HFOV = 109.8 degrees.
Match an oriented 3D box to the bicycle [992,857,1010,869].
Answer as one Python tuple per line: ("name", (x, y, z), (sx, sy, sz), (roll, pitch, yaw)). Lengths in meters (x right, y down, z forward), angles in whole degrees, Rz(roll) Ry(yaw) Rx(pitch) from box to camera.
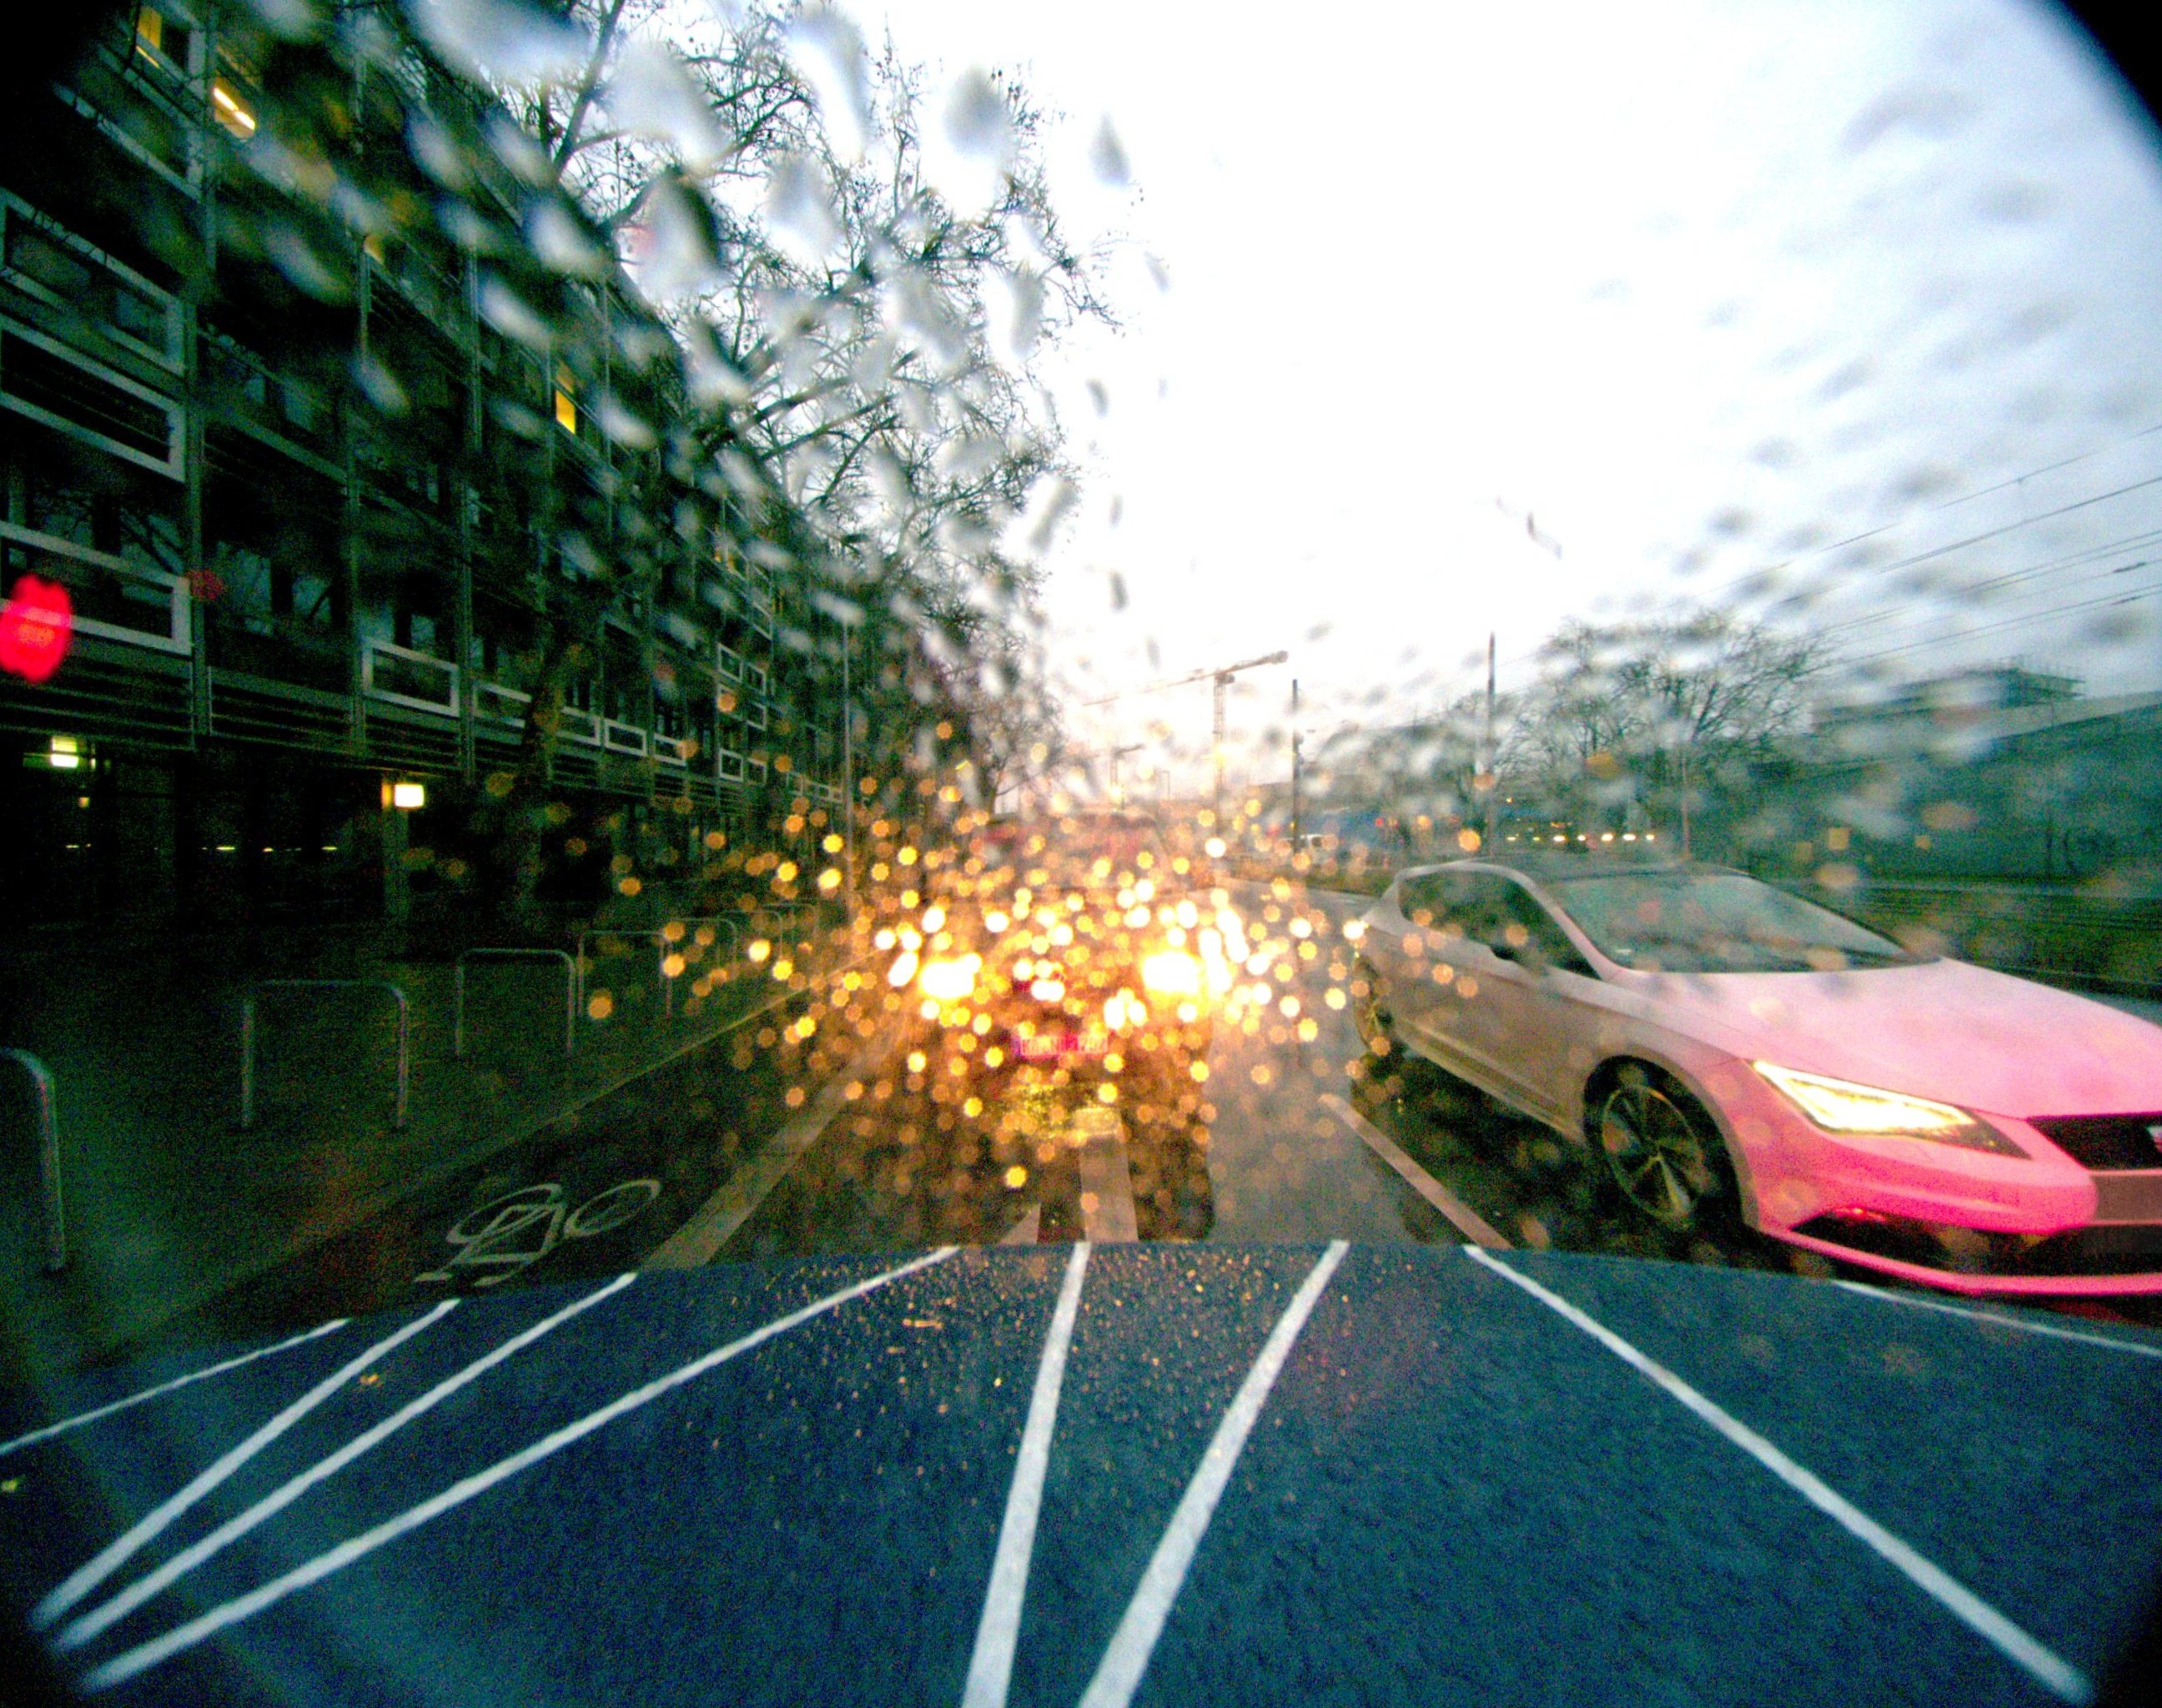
("bicycle", (-7.215, 0.796, 68.294), (1.523, 1.030, 0.469), (-2, 1, -7))

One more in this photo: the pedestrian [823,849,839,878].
("pedestrian", (-14.383, 0.550, 43.702), (0.641, 1.645, 0.843), (0, 1, 1))

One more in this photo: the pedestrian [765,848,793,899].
("pedestrian", (-12.070, 0.760, 30.403), (0.822, 2.002, 0.735), (-1, 1, -2))

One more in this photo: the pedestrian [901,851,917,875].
("pedestrian", (-11.070, 0.560, 48.870), (0.866, 1.515, 0.837), (-1, 1, -2))

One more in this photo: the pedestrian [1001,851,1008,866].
("pedestrian", (-10.709, 0.598, 106.550), (0.838, 2.002, 0.771), (-2, 2, -1))

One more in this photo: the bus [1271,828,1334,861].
("bus", (25.951, -1.072, 89.932), (2.815, 3.557, 12.298), (-1, 0, -6))

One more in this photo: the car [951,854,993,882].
("car", (-6.176, 0.784, 43.374), (1.608, 1.424, 3.930), (2, 1, 2))

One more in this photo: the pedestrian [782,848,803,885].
("pedestrian", (-13.275, 0.571, 34.984), (0.617, 1.647, 0.780), (-1, 1, 1))

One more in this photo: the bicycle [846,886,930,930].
("bicycle", (-4.455, 1.246, 17.605), (1.792, 0.968, 0.617), (1, 1, -4))

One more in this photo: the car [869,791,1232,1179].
("car", (-0.125, 0.668, 5.925), (1.858, 2.002, 4.000), (0, 1, 1))

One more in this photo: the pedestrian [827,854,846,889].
("pedestrian", (-10.906, 0.785, 33.892), (0.649, 1.535, 0.615), (-1, 1, 1))

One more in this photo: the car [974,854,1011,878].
("car", (-5.948, 0.833, 51.357), (1.998, 1.476, 4.002), (1, -3, 0))

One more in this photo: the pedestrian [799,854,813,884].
("pedestrian", (-12.571, 0.663, 34.727), (0.494, 1.361, 0.502), (-1, 1, -6))

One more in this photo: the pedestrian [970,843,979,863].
("pedestrian", (-10.687, -0.095, 76.232), (0.791, 2.002, 1.024), (-1, 1, 0))

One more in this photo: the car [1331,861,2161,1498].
("car", (2.952, 0.828, 3.970), (1.778, 1.466, 4.128), (-1, 1, -2))
